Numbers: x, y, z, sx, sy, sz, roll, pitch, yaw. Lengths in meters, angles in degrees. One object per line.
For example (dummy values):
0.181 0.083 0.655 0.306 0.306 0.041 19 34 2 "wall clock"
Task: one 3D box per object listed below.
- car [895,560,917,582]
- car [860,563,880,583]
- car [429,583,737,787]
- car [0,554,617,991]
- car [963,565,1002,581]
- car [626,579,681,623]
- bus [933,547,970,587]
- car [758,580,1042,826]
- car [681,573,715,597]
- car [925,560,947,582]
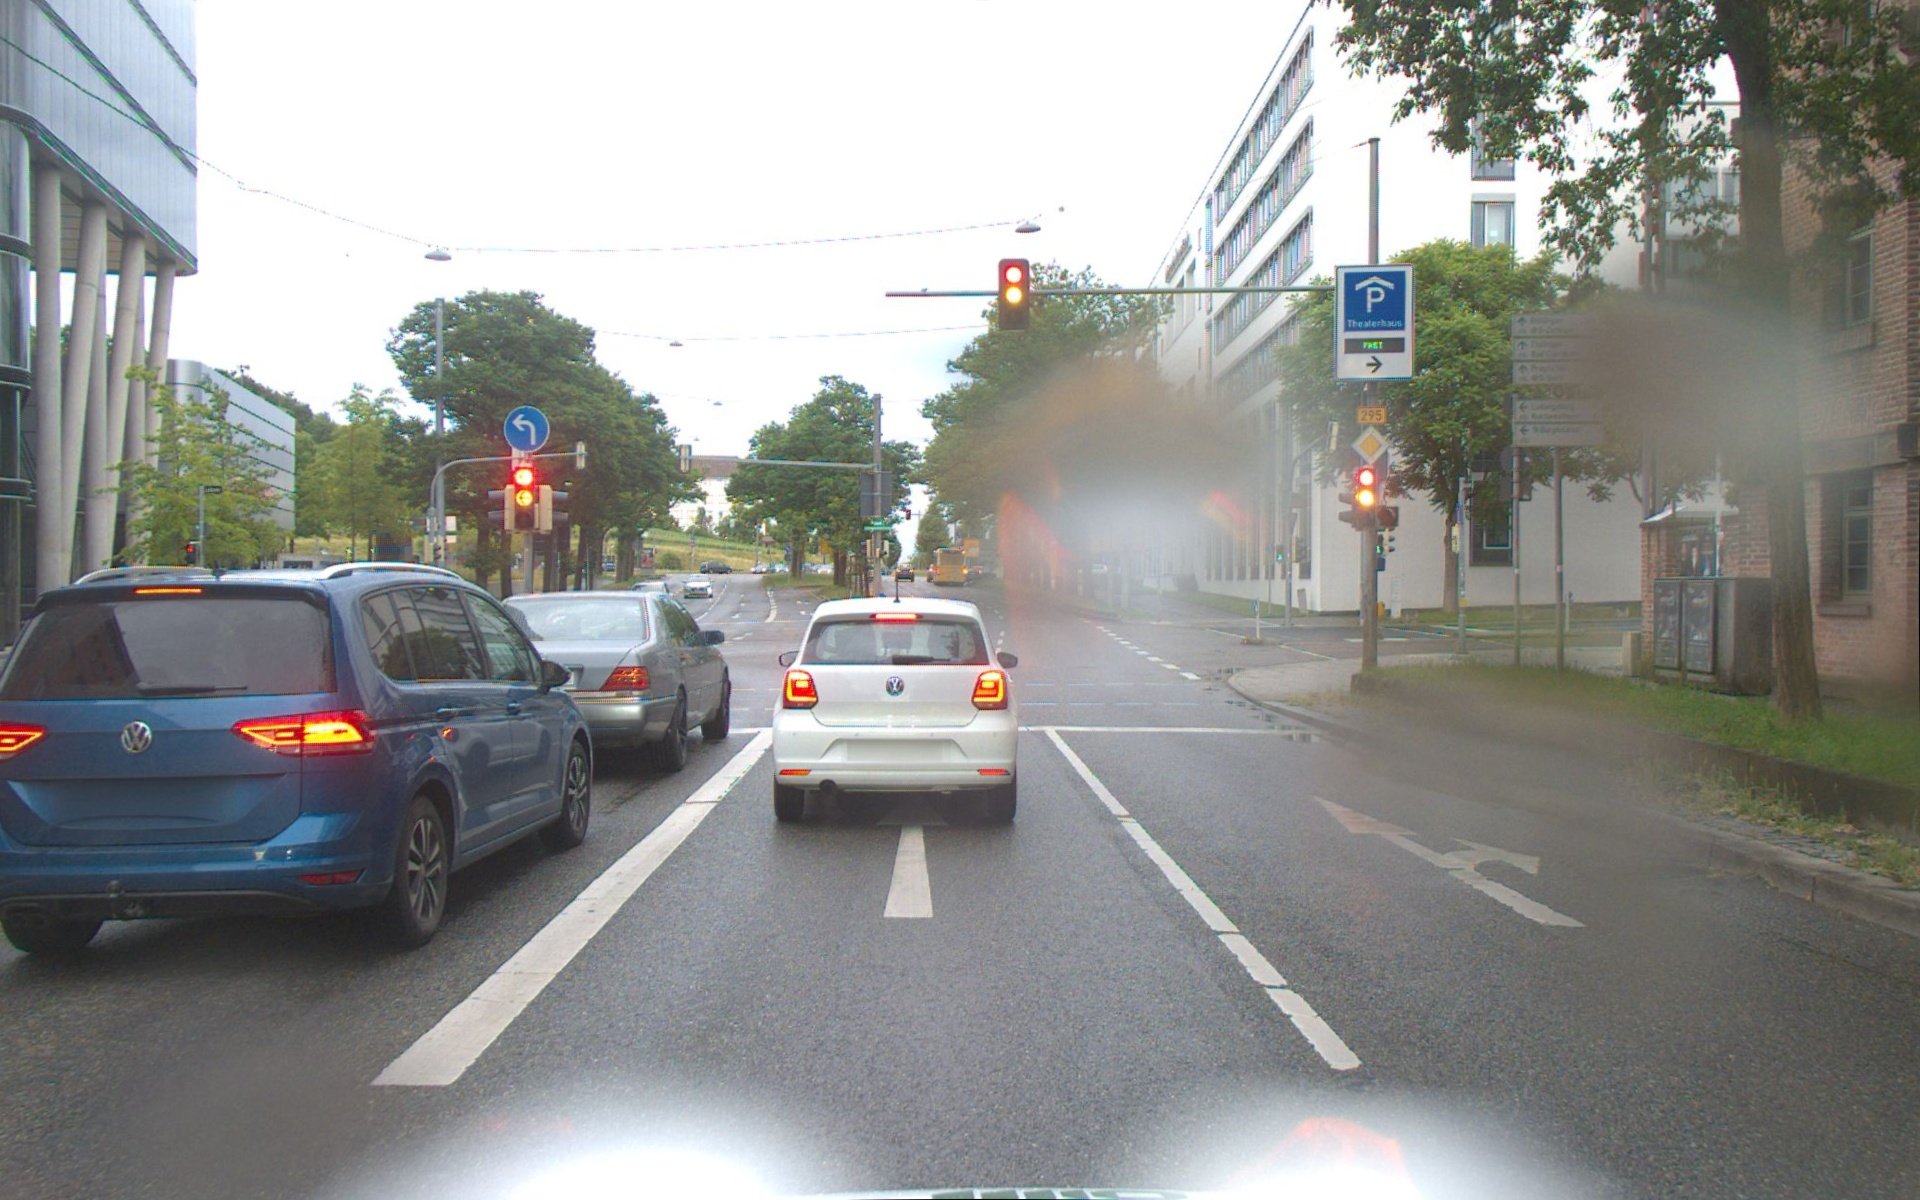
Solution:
-5.076 -2.740 155.593 1.954 2.049 3.998 0 0 -3 "car"
-8.548 -2.547 157.044 1.759 1.772 3.997 -1 1 -4 "car"
-3.177 0.638 14.781 1.809 1.537 4.048 -1 0 0 "car"
-3.063 0.639 8.329 1.736 1.624 4.197 -1 0 1 "car"
2.126 -2.529 155.648 1.670 1.542 3.804 0 0 42 "car"
-11.596 0.019 62.782 1.716 1.547 3.813 -1 1 -6 "car"
-0.819 -2.877 143.273 2.771 3.323 9.996 0 1 -3 "bus"
-0.427 0.634 12.318 1.758 1.528 3.999 0 0 -2 "car"
-16.563 -0.967 104.701 1.779 1.436 4.651 -2 1 -5 "car"
-2.262 -2.717 156.617 1.954 2.049 3.998 0 0 -3 "car"
